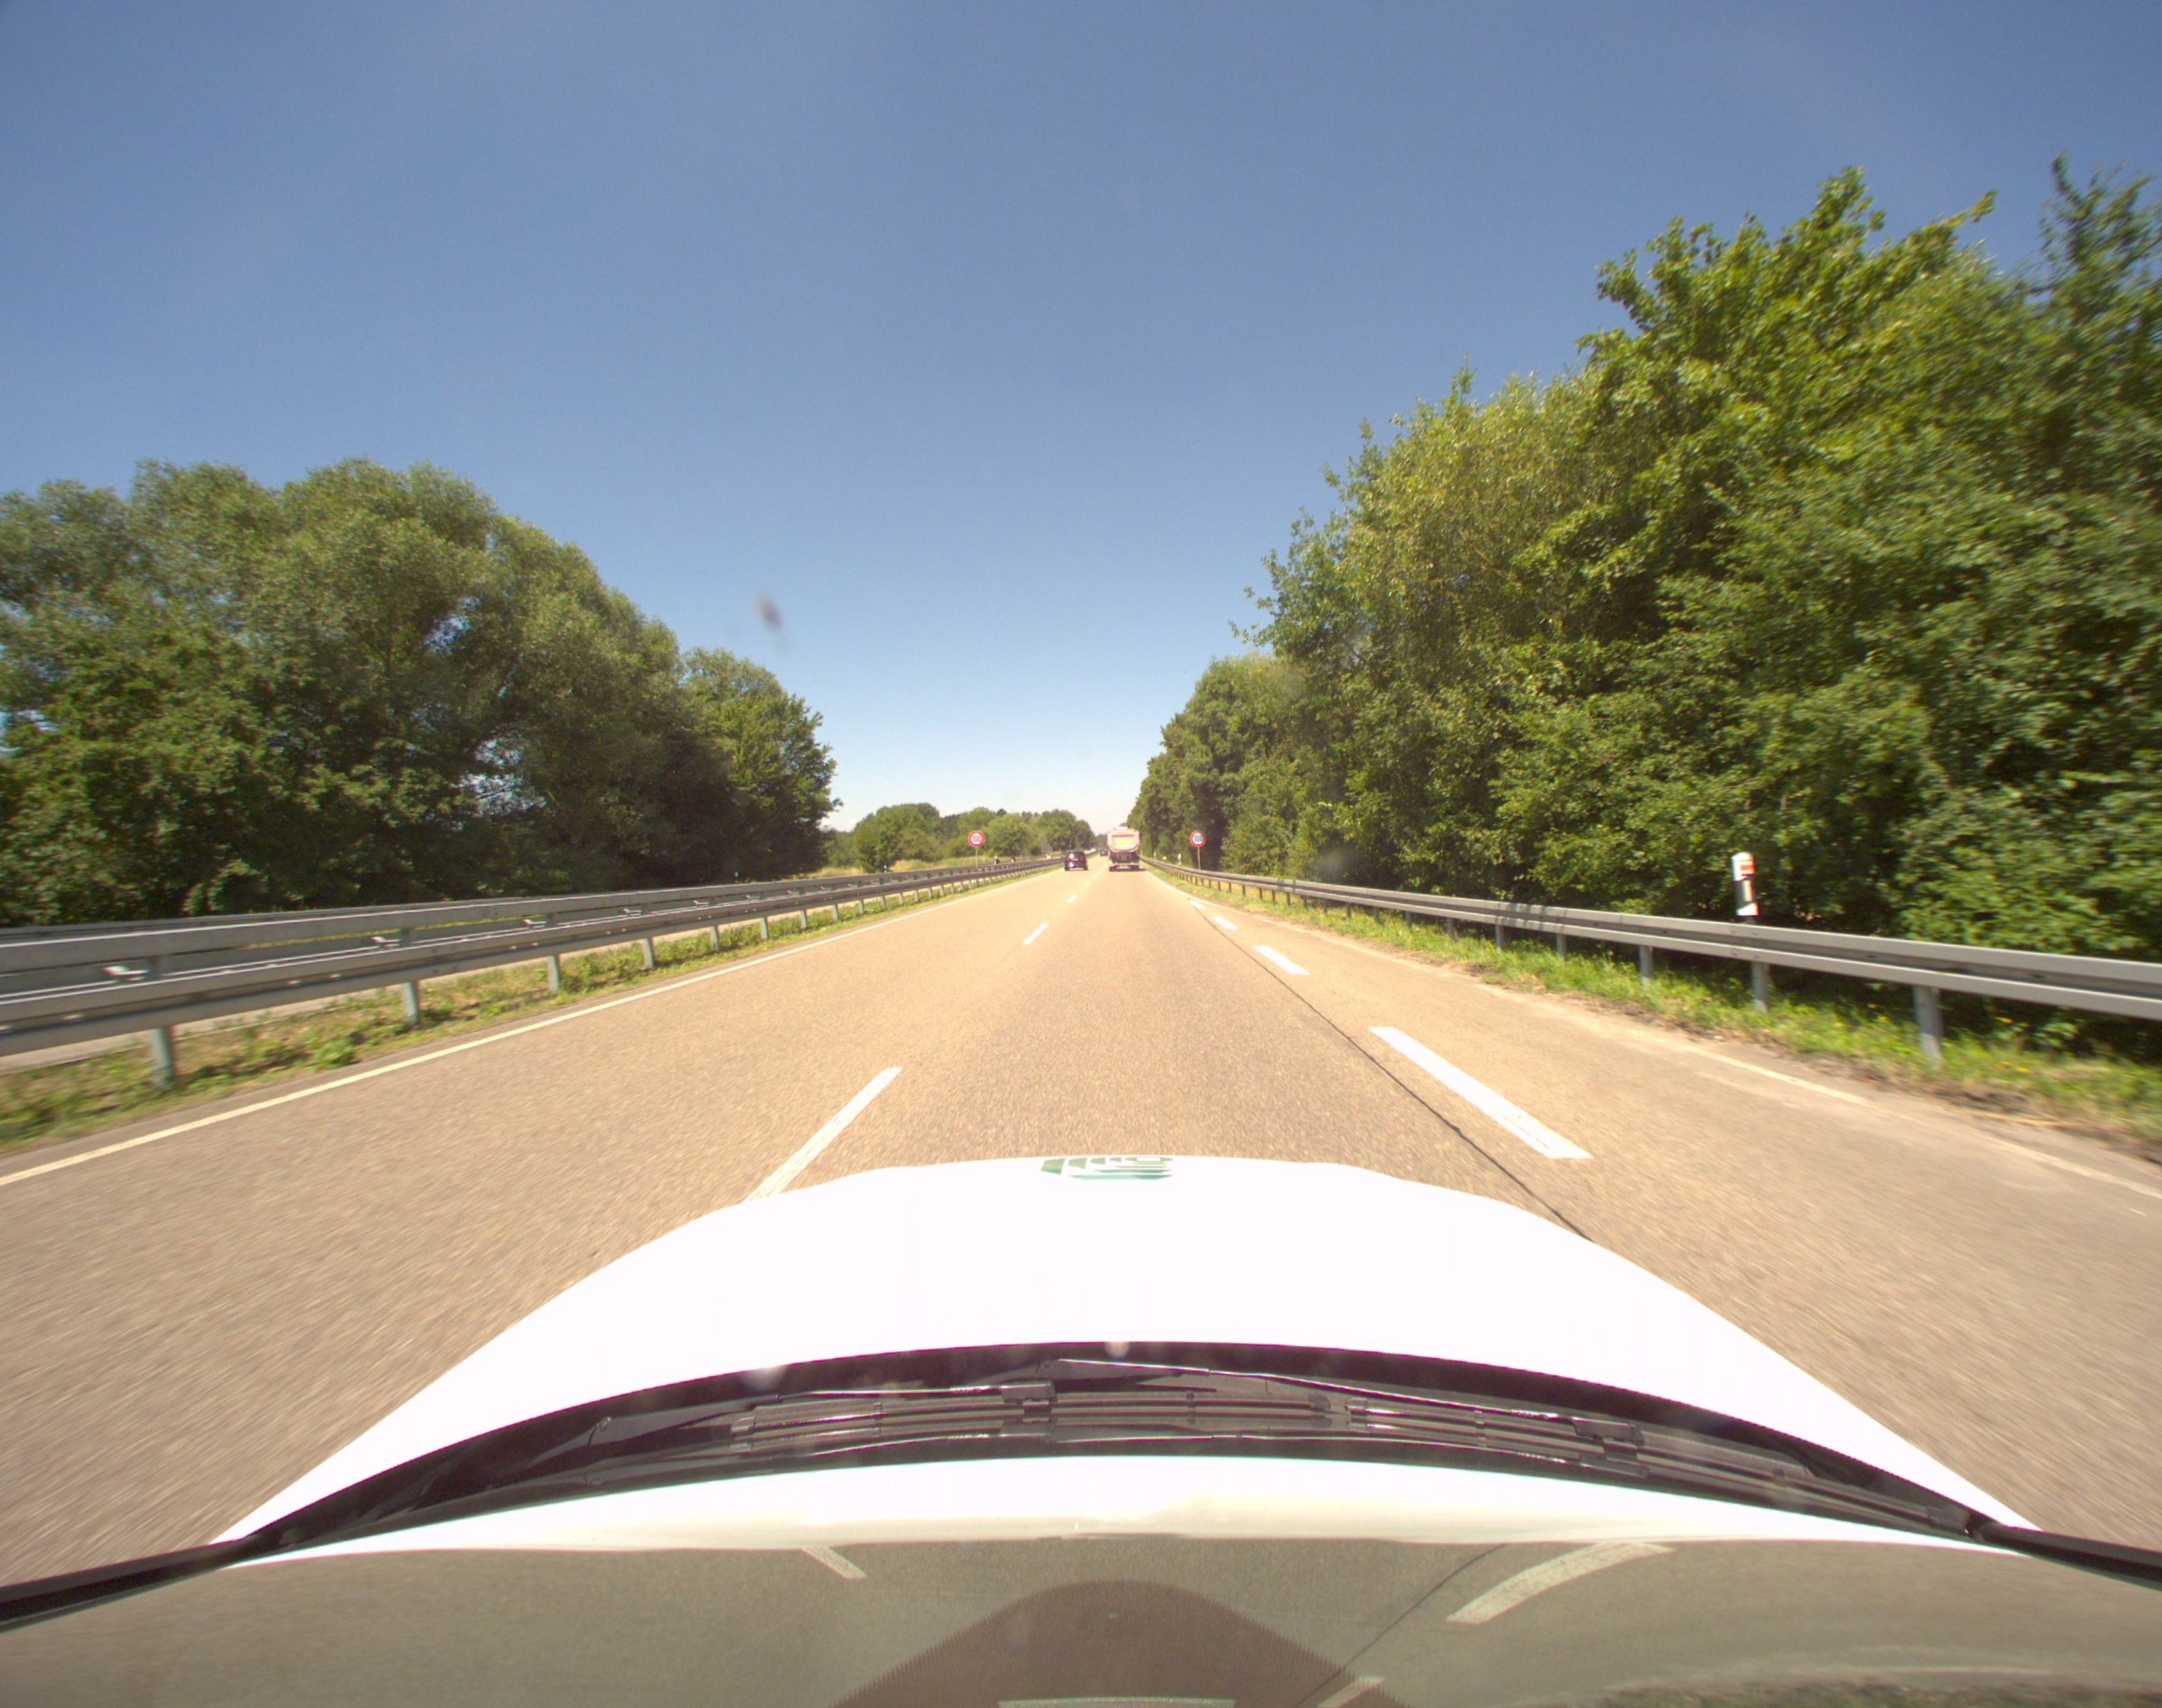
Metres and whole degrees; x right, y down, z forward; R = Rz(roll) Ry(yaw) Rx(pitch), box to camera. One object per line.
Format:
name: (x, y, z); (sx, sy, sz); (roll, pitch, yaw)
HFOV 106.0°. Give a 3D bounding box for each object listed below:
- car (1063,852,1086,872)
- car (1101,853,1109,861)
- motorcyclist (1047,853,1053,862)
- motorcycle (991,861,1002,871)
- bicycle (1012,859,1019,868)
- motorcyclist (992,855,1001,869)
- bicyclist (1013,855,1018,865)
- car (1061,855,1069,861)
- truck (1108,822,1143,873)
car: (-0.516, 0.754, 71.790); (1.850, 1.671, 4.001); (-1, -1, 2)
car: (5.518, 0.744, 186.486); (1.850, 1.718, 4.001); (-1, -1, 2)
motorcyclist: (-5.899, 0.610, 153.558); (0.941, 1.617, 0.809); (-3, 0, 1)
motorcycle: (-8.986, 1.296, 86.744); (0.723, 1.064, 2.668); (-1, 0, 3)
bicycle: (-8.782, 1.312, 109.634); (0.611, 1.157, 2.282); (-1, 0, 2)
motorcyclist: (-9.015, 0.855, 86.802); (0.715, 1.482, 0.810); (-1, 0, 3)
bicyclist: (-8.793, 0.794, 109.644); (0.611, 1.277, 0.608); (-1, 0, 2)
car: (-3.892, 0.903, 196.439); (1.622, 1.332, 3.538); (-1, 0, 2)
truck: (3.695, -0.525, 69.898); (2.710, 3.930, 12.376); (-1, 0, 2)
